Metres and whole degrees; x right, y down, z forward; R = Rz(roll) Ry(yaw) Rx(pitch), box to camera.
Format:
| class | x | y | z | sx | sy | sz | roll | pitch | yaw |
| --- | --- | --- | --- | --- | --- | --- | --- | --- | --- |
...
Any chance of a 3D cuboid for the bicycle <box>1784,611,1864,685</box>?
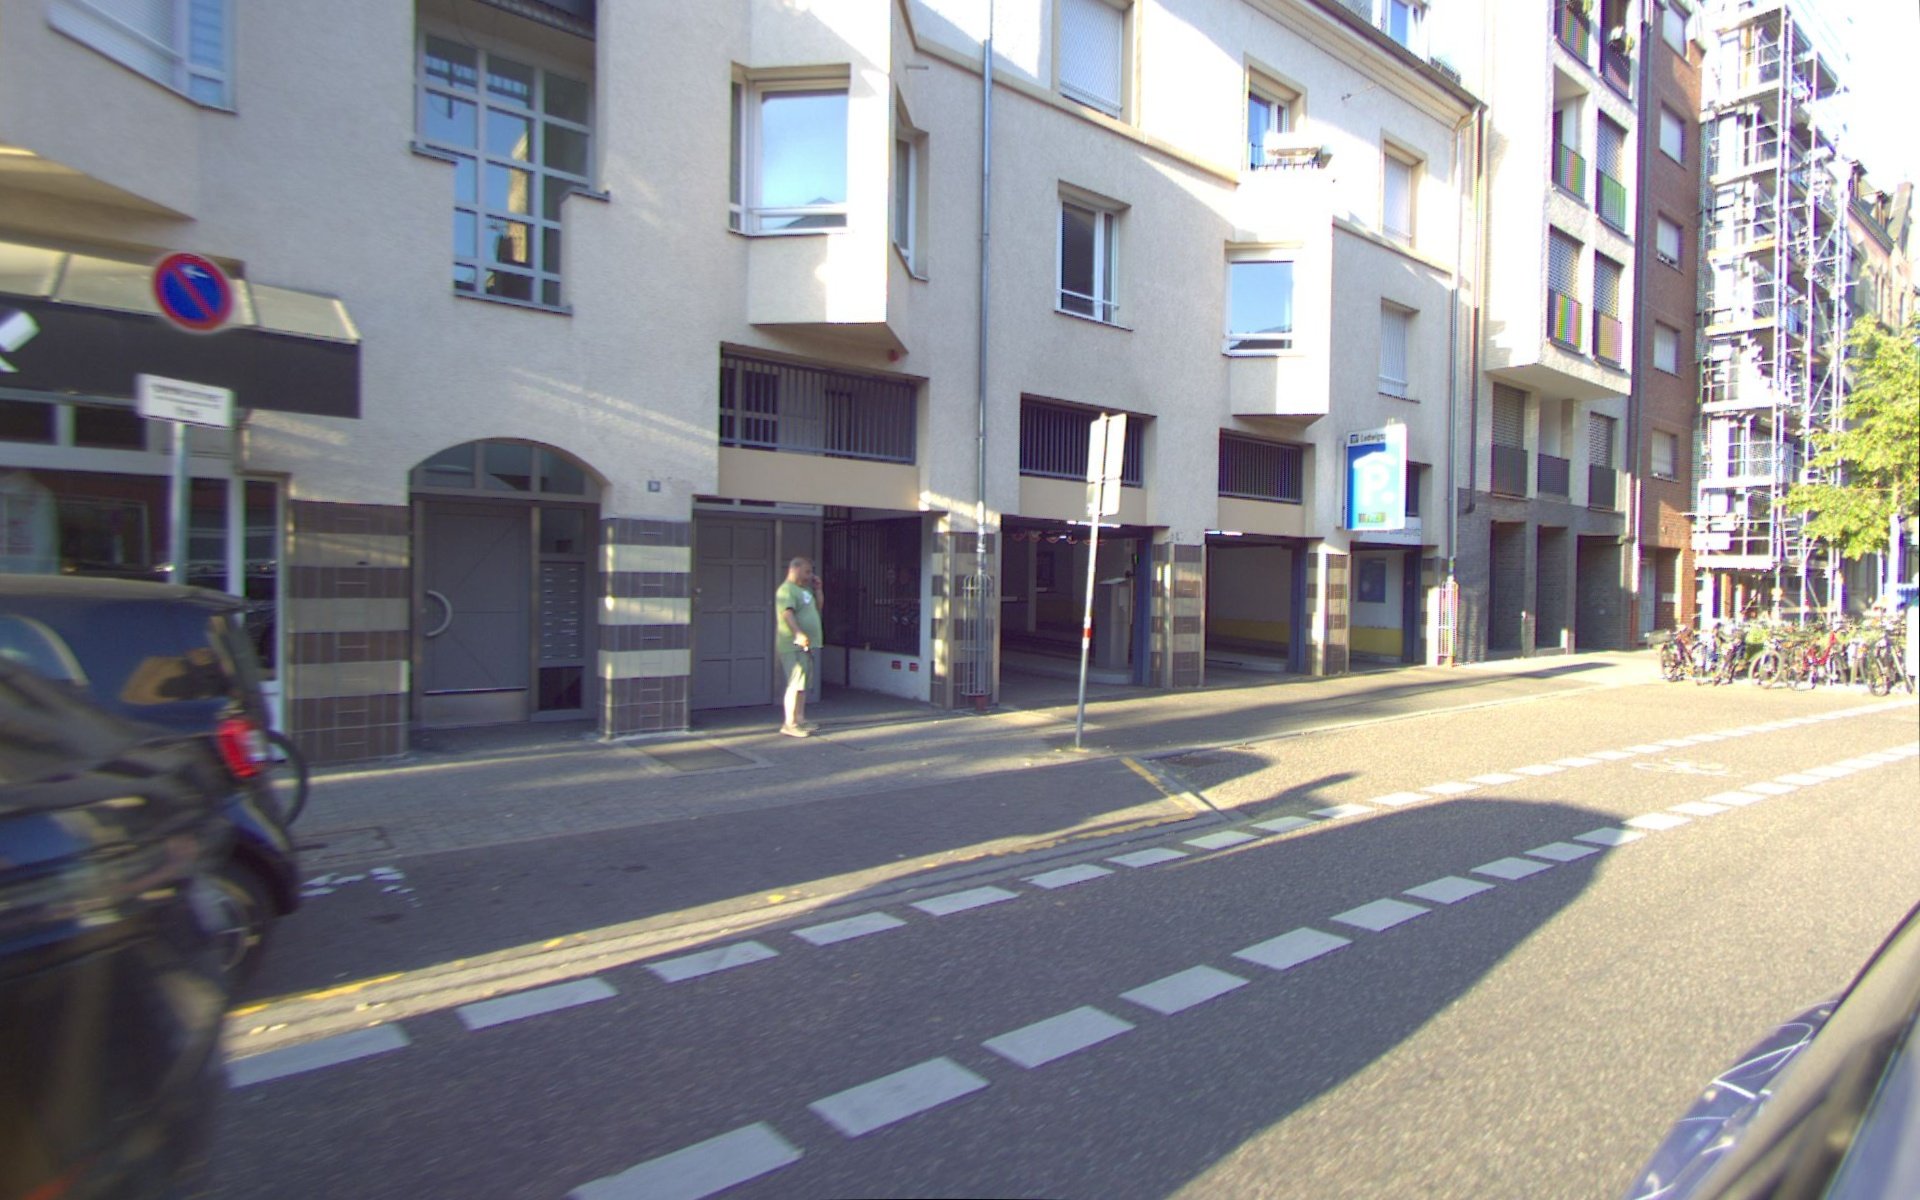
| class | x | y | z | sx | sy | sz | roll | pitch | yaw |
| --- | --- | --- | --- | --- | --- | --- | --- | --- | --- |
| bicycle | 13.597 | 0.739 | 15.921 | 1.492 | 1.121 | 0.373 | 0 | 1 | -26 |

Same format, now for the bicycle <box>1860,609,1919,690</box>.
| class | x | y | z | sx | sy | sz | roll | pitch | yaw |
| --- | --- | --- | --- | --- | --- | --- | --- | --- | --- |
| bicycle | 14.141 | 0.724 | 15.267 | 1.534 | 1.155 | 0.364 | -1 | 1 | -30 |

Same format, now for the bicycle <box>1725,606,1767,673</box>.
| class | x | y | z | sx | sy | sz | roll | pitch | yaw |
| --- | --- | --- | --- | --- | --- | --- | --- | --- | --- |
| bicycle | 13.973 | 0.678 | 17.980 | 1.498 | 1.114 | 0.382 | 0 | 2 | -45 |

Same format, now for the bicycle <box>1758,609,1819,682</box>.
| class | x | y | z | sx | sy | sz | roll | pitch | yaw |
| --- | --- | --- | --- | --- | --- | --- | --- | --- | --- |
| bicycle | 13.524 | 0.724 | 16.504 | 1.536 | 1.114 | 0.383 | 0 | 1 | -37 |

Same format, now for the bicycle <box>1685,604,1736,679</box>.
| class | x | y | z | sx | sy | sz | roll | pitch | yaw |
| --- | --- | --- | --- | --- | --- | --- | --- | --- | --- |
| bicycle | 12.661 | 0.677 | 17.059 | 1.497 | 1.204 | 0.382 | -1 | 0 | -42 |

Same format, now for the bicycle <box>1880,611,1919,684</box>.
| class | x | y | z | sx | sy | sz | roll | pitch | yaw |
| --- | --- | --- | --- | --- | --- | --- | --- | --- | --- |
| bicycle | 15.239 | 0.743 | 16.327 | 1.496 | 1.114 | 0.382 | 0 | 1 | -41 |

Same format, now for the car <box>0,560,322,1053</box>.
| class | x | y | z | sx | sy | sz | roll | pitch | yaw |
| --- | --- | --- | --- | --- | --- | --- | --- | --- | --- |
| car | -3.937 | 0.646 | 3.590 | 2.647 | 1.572 | 1.636 | 0 | 2 | -40 |

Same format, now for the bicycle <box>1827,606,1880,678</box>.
| class | x | y | z | sx | sy | sz | roll | pitch | yaw |
| --- | --- | --- | --- | --- | --- | --- | --- | --- | --- |
| bicycle | 15.056 | 0.683 | 17.072 | 0.380 | 1.114 | 1.506 | 1 | 1 | 31 |

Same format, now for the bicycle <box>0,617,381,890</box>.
| class | x | y | z | sx | sy | sz | roll | pitch | yaw |
| --- | --- | --- | --- | --- | --- | --- | --- | --- | --- |
| bicycle | -4.145 | 0.739 | 5.390 | 1.793 | 1.249 | 0.398 | 0 | 2 | -40 |

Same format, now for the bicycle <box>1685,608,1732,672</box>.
| class | x | y | z | sx | sy | sz | roll | pitch | yaw |
| --- | --- | --- | --- | --- | --- | --- | --- | --- | --- |
| bicycle | 13.800 | 0.717 | 18.645 | 1.497 | 1.114 | 0.382 | 0 | 1 | -42 |

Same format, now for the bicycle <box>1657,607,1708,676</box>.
| class | x | y | z | sx | sy | sz | roll | pitch | yaw |
| --- | --- | --- | --- | --- | --- | --- | --- | --- | --- |
| bicycle | 12.622 | 0.710 | 17.678 | 1.497 | 1.114 | 0.382 | -1 | 2 | -42 |

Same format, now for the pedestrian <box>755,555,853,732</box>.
| class | x | y | z | sx | sy | sz | roll | pitch | yaw |
| --- | --- | --- | --- | --- | --- | --- | --- | --- | --- |
| pedestrian | -1.528 | 0.398 | 9.986 | 0.600 | 1.667 | 0.805 | 1 | 1 | 28 |

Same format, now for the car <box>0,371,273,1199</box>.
| class | x | y | z | sx | sy | sz | roll | pitch | yaw |
| --- | --- | --- | --- | --- | --- | --- | --- | --- | --- |
| car | -3.196 | 0.625 | 0.551 | 4.587 | 1.676 | 2.000 | 0 | 0 | -37 |

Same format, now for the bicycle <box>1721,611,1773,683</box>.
| class | x | y | z | sx | sy | sz | roll | pitch | yaw |
| --- | --- | --- | --- | --- | --- | --- | --- | --- | --- |
| bicycle | 12.965 | 0.752 | 16.661 | 1.496 | 1.114 | 0.382 | -1 | 1 | -41 |
